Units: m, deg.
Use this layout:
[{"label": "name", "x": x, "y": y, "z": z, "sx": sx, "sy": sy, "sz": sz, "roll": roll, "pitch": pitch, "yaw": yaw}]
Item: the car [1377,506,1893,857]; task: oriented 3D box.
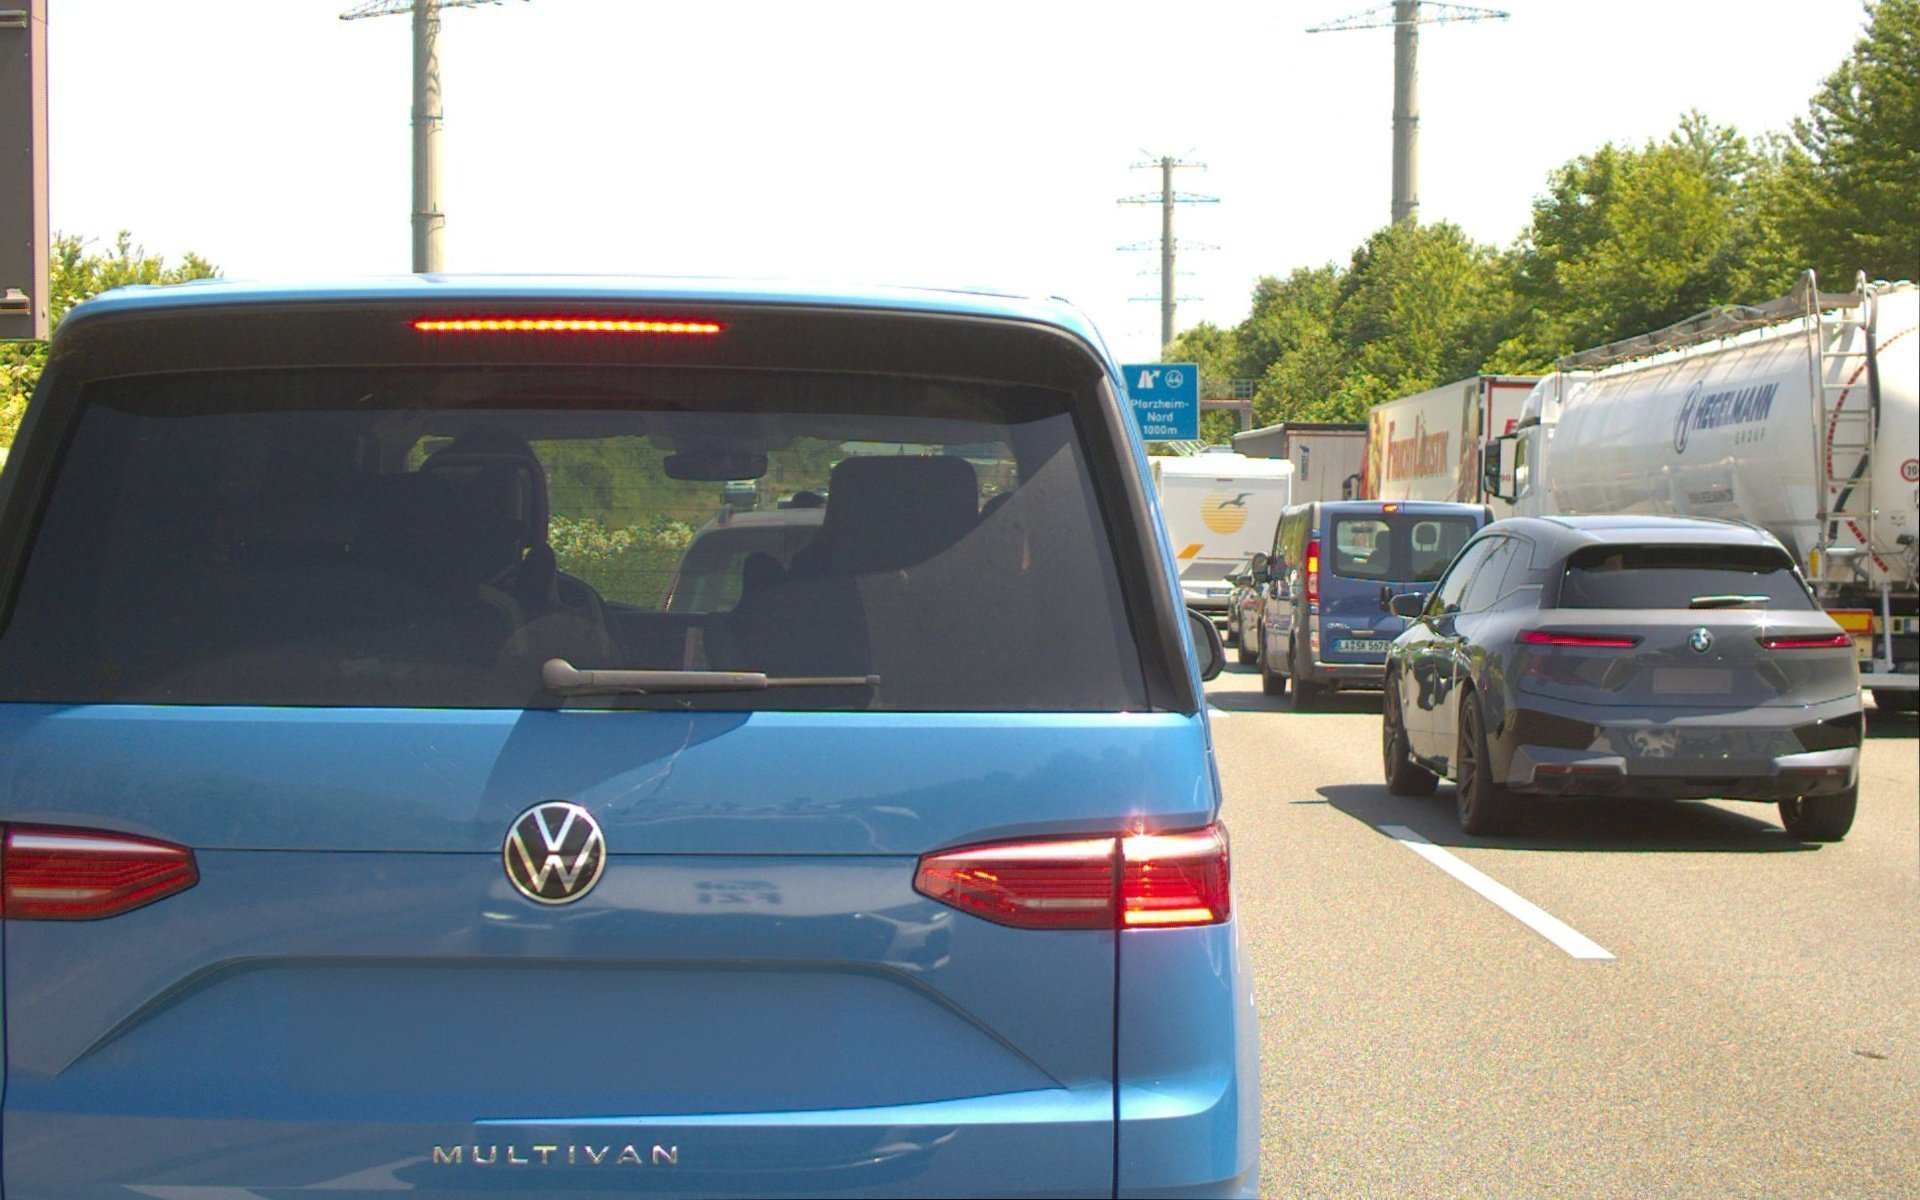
[{"label": "car", "x": 3.591, "y": 0.392, "z": 19.180, "sx": 1.999, "sy": 1.709, "sz": 4.625, "roll": 0, "pitch": 0, "yaw": 1}]

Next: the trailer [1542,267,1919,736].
[{"label": "trailer", "x": 8.153, "y": -0.894, "z": 33.873, "sx": 2.761, "sy": 3.831, "sz": 11.487, "roll": 0, "pitch": 1, "yaw": -1}]

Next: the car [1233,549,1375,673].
[{"label": "car", "x": 4.175, "y": 0.122, "z": 42.125, "sx": 1.360, "sy": 1.415, "sz": 3.884, "roll": -1, "pitch": 0, "yaw": 1}]

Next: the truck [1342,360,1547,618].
[{"label": "truck", "x": 8.696, "y": -1.958, "z": 62.215, "sx": 2.912, "sy": 4.453, "sz": 5.143, "roll": 0, "pitch": 1, "yaw": -1}]

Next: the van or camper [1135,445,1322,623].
[{"label": "van or camper", "x": 4.746, "y": -1.161, "z": 62.041, "sx": 2.957, "sy": 3.011, "sz": 7.102, "roll": 0, "pitch": 1, "yaw": 1}]

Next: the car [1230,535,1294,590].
[{"label": "car", "x": 11.267, "y": -1.397, "z": 128.345, "sx": 1.993, "sy": 2.007, "sz": 4.000, "roll": 0, "pitch": 1, "yaw": -1}]

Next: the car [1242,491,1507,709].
[{"label": "car", "x": 3.909, "y": -0.007, "z": 33.108, "sx": 1.923, "sy": 1.919, "sz": 4.236, "roll": -1, "pitch": 0, "yaw": -1}]

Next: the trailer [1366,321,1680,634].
[{"label": "trailer", "x": 8.789, "y": -1.845, "z": 55.322, "sx": 2.912, "sy": 4.453, "sz": 12.155, "roll": 0, "pitch": 1, "yaw": -1}]

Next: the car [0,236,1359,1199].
[{"label": "car", "x": -0.502, "y": 0.475, "z": 6.156, "sx": 1.920, "sy": 1.880, "sz": 4.000, "roll": 1, "pitch": 1, "yaw": 0}]

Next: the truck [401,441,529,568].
[{"label": "truck", "x": -14.817, "y": -2.835, "z": 103.259, "sx": 3.071, "sy": 3.697, "sz": 5.463, "roll": 0, "pitch": 1, "yaw": -1}]

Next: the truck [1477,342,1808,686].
[{"label": "truck", "x": 8.042, "y": -1.004, "z": 41.188, "sx": 2.793, "sy": 3.823, "sz": 5.572, "roll": 0, "pitch": 1, "yaw": -1}]

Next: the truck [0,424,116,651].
[{"label": "truck", "x": -15.225, "y": -0.906, "z": 50.007, "sx": 2.765, "sy": 3.277, "sz": 11.819, "roll": 0, "pitch": 1, "yaw": 1}]

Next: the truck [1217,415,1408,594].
[{"label": "truck", "x": 7.997, "y": -2.089, "z": 80.202, "sx": 3.006, "sy": 3.753, "sz": 15.713, "roll": 0, "pitch": 1, "yaw": 1}]

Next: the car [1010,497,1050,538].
[{"label": "car", "x": 3.731, "y": -4.374, "z": 182.766, "sx": 1.993, "sy": 2.118, "sz": 4.000, "roll": 0, "pitch": 1, "yaw": -1}]

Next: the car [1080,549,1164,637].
[{"label": "car", "x": 3.755, "y": -0.164, "z": 80.342, "sx": 1.836, "sy": 1.991, "sz": 4.000, "roll": -1, "pitch": 0, "yaw": 1}]

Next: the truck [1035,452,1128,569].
[{"label": "truck", "x": 4.039, "y": -2.935, "z": 116.060, "sx": 2.895, "sy": 3.753, "sz": 10.140, "roll": 0, "pitch": 1, "yaw": 1}]

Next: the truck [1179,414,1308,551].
[{"label": "truck", "x": 8.373, "y": -3.387, "z": 103.022, "sx": 2.895, "sy": 3.753, "sz": 13.345, "roll": 0, "pitch": 1, "yaw": 1}]

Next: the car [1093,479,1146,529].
[{"label": "car", "x": 6.574, "y": -3.962, "z": 142.198, "sx": 1.993, "sy": 2.007, "sz": 4.000, "roll": 0, "pitch": 1, "yaw": 0}]
